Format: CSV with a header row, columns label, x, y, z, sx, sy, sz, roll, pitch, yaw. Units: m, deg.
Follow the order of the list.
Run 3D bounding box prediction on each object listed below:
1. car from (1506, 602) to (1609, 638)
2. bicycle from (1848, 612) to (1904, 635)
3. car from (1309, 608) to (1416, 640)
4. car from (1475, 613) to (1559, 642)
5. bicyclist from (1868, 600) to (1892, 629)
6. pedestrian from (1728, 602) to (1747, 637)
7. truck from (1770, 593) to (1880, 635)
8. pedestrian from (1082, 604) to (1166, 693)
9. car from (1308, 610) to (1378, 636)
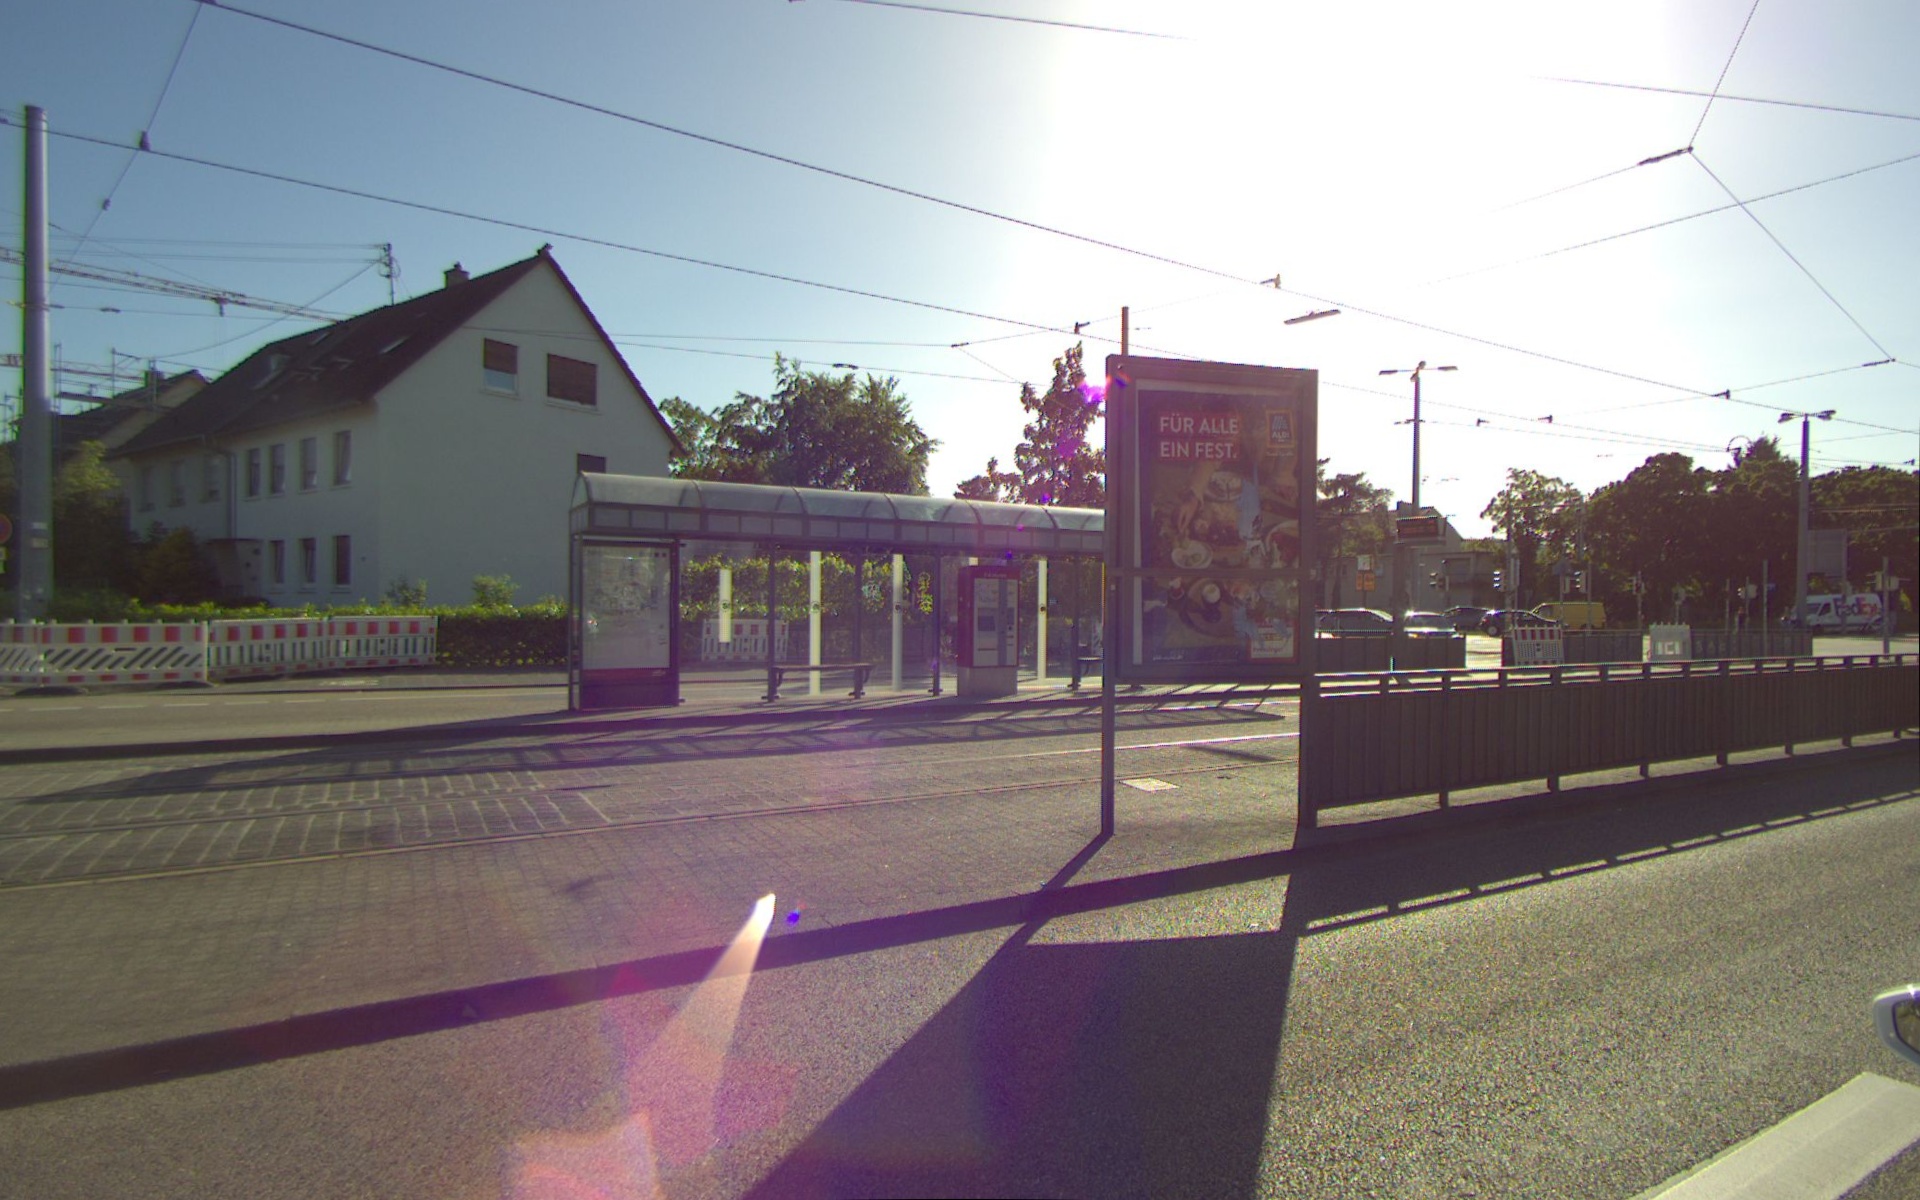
label,x,y,z,sx,sy,sz,roll,pitch,yaw
car,35.419,1.134,59.593,5.084,1.905,1.994,2,1,34
bicycle,53.312,1.362,58.472,2.370,1.279,0.813,1,0,43
car,20.293,1.188,50.668,4.755,1.517,1.780,0,0,34
car,28.641,1.394,51.705,3.618,1.397,1.522,0,0,38
bicyclist,53.433,0.832,58.347,0.995,1.669,0.813,1,0,43
pedestrian,45.101,1.119,58.261,0.785,2.040,0.741,0,0,-42
truck,55.405,0.909,64.328,6.711,2.599,1.993,1,0,-16
pedestrian,2.824,0.815,17.374,0.995,1.472,1.055,1,-1,-30
car,25.130,1.508,65.999,3.938,1.493,1.744,2,1,39
